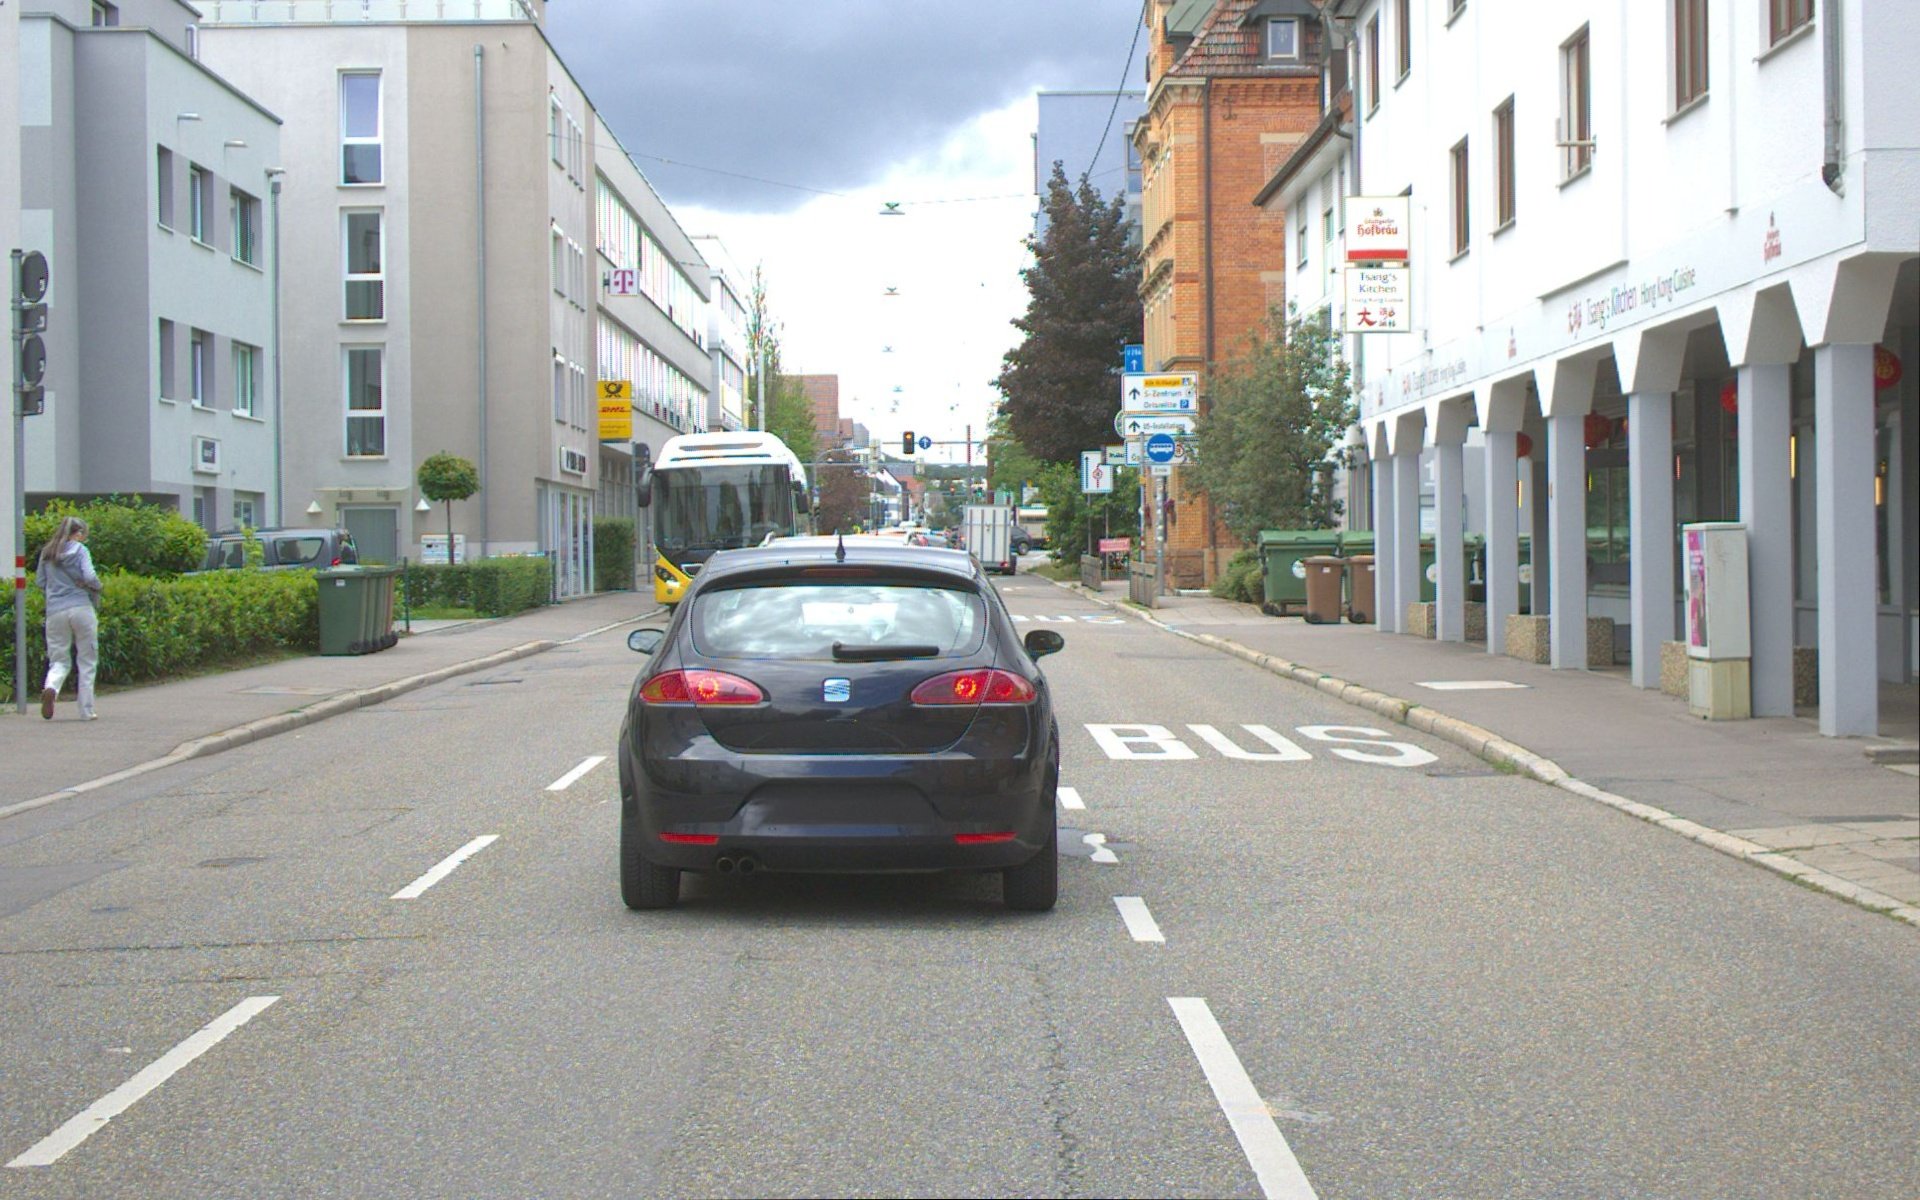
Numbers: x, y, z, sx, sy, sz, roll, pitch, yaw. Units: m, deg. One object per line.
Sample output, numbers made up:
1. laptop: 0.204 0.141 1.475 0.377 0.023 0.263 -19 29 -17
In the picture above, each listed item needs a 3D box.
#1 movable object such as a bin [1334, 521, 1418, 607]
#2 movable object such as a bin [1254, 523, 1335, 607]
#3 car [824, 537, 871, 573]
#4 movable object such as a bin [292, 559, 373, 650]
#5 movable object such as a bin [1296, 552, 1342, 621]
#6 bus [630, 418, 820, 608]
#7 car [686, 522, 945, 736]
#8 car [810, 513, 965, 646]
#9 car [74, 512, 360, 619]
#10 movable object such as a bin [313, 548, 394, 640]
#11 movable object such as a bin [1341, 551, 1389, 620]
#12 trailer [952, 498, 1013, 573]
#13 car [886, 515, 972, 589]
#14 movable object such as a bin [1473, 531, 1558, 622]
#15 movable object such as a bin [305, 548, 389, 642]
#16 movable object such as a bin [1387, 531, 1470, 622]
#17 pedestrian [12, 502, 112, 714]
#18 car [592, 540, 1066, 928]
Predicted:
1. movable object such as a bin: 7.025 -0.619 58.108 1.267 1.430 1.307 0 1 0
2. movable object such as a bin: 5.668 -0.603 58.349 1.267 1.412 1.162 0 1 0
3. car: -4.864 -1.981 149.285 1.878 1.446 4.214 -3 1 -1
4. movable object such as a bin: -7.621 0.052 41.783 0.894 1.085 0.793 0 1 -5
5. movable object such as a bin: 5.676 -0.220 54.433 0.683 1.063 0.971 0 1 3
6. bus: -4.391 -1.671 66.557 2.942 3.262 12.009 -2 1 -1
7. car: -1.051 0.165 25.932 1.803 1.487 3.738 0 1 -1
8. car: -0.886 -0.273 42.055 1.803 1.547 3.738 0 1 -1
9. car: -11.900 -0.550 55.217 4.163 1.662 1.724 0 1 3
10. movable object such as a bin: -7.682 -0.085 43.571 0.948 1.147 0.749 0 1 -5
11. movable object such as a bin: 6.406 -0.229 54.406 0.698 1.075 0.971 0 1 3
12. trailer: 0.776 -2.308 122.402 1.993 2.598 5.350 0 1 -1
13. car: -0.683 -1.040 73.764 1.803 1.547 3.738 0 1 -1
14. movable object such as a bin: 8.723 -0.375 54.037 1.209 1.412 1.259 0 1 3
15. movable object such as a bin: -7.613 -0.063 42.727 0.956 1.147 0.840 0 1 -5
16. movable object such as a bin: 7.359 -0.374 54.054 1.209 1.412 1.259 0 1 3
17. pedestrian: -6.990 0.055 26.783 0.638 1.637 0.520 0 1 0
18. car: -0.504 0.466 14.735 1.765 1.428 3.828 0 1 0
